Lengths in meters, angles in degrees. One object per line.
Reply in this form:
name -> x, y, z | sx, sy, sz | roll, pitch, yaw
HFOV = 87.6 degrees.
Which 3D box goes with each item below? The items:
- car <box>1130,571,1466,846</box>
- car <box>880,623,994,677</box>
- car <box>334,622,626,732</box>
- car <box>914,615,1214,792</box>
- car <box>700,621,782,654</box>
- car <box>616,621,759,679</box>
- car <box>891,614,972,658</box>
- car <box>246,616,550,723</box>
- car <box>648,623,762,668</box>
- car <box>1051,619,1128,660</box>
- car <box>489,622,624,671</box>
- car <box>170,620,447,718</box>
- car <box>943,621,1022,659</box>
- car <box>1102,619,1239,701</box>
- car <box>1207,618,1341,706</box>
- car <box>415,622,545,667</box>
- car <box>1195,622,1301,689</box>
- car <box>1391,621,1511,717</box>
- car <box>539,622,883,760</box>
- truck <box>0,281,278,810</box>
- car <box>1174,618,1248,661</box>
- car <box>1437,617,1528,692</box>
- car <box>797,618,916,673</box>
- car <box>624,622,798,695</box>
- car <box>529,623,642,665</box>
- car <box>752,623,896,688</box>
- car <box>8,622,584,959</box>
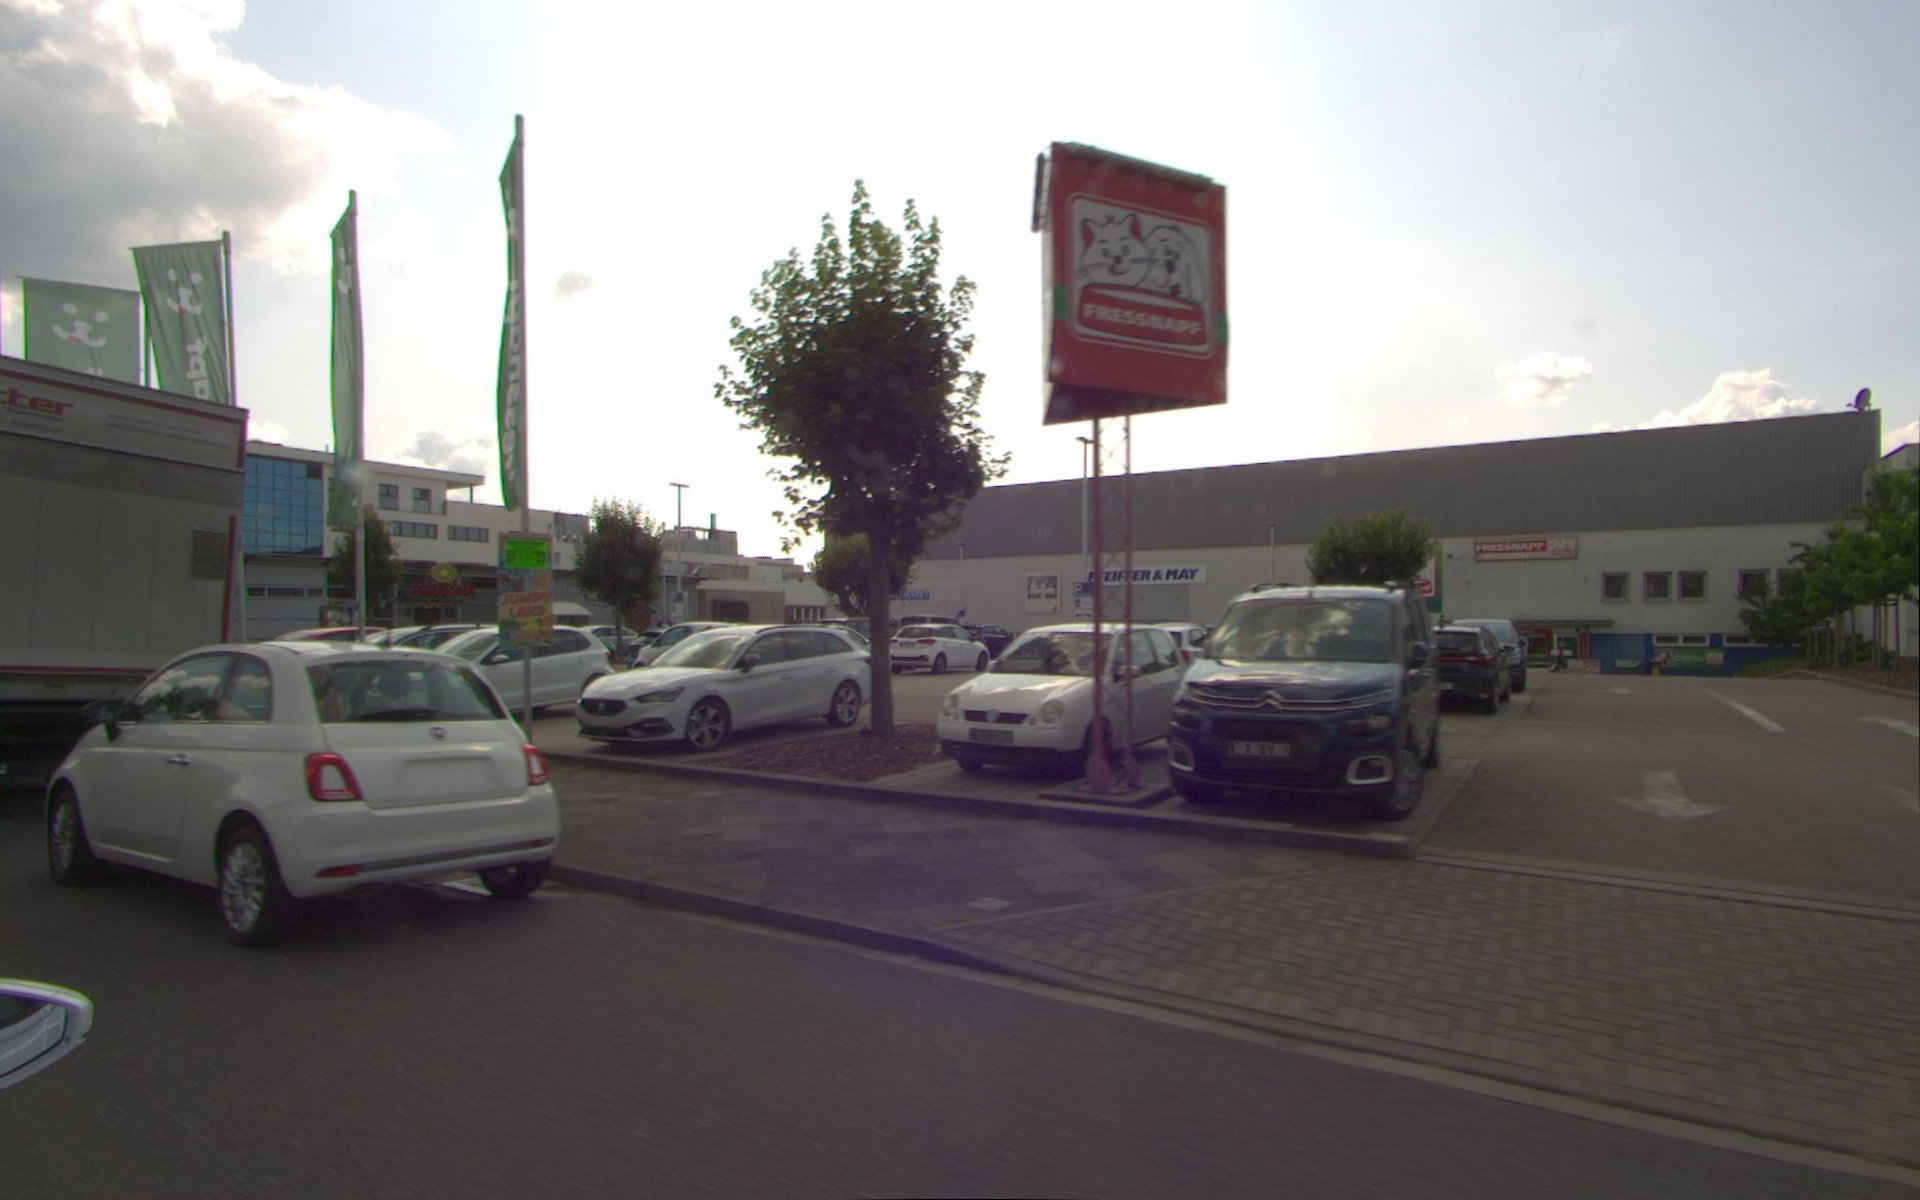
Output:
car -> 3.363, 0.749, 9.173 | 1.875, 1.811, 4.884 | 0, -1, 32
car -> -0.631, 1.470, 30.692 | 1.699, 1.503, 3.930 | 0, -1, 30
car -> -7.328, 1.096, 15.692 | 1.721, 1.451, 3.882 | 0, -1, 27
car -> 1.283, 0.930, 10.711 | 1.631, 1.518, 3.802 | 0, -1, 33
car -> -10.953, 1.849, 50.353 | 1.699, 1.503, 4.179 | 0, -1, 30
car -> -7.806, 1.393, 29.021 | 1.715, 1.503, 3.976 | 0, -1, 30
car -> -1.182, 1.524, 43.571 | 1.699, 1.824, 4.060 | 0, -1, 30
car -> -9.334, 1.063, 17.034 | 1.721, 1.562, 4.283 | 0, -1, 27
car -> -9.206, 1.598, 36.445 | 1.699, 1.503, 4.004 | 0, -1, 30
car -> 5.278, 1.555, 40.401 | 1.699, 1.503, 4.025 | 0, -1, 30
car -> -13.374, 1.496, 33.370 | 1.699, 1.503, 3.989 | 0, -1, 30
car -> -11.615, 1.151, 18.142 | 1.721, 1.542, 3.882 | 0, -1, 27
car -> 1.013, 1.644, 42.553 | 1.699, 1.503, 3.917 | 0, -1, 30
car -> 4.510, 1.170, 21.024 | 1.699, 1.503, 3.930 | 0, -1, 30
car -> 6.220, 1.114, 19.582 | 1.699, 1.503, 3.930 | 0, -1, 30
car -> -17.464, 1.589, 36.616 | 1.699, 1.503, 4.053 | 0, -1, 30
car -> 7.326, 1.319, 25.261 | 1.699, 1.503, 3.930 | 0, -1, 30
car -> 8.942, 1.143, 18.090 | 1.699, 1.503, 3.930 | 0, -1, 30
car -> -3.068, 1.046, 13.329 | 1.831, 1.456, 4.473 | 0, -1, 31
truck -> -10.732, -0.341, 10.558 | 8.162, 4.166, 2.775 | -1, -4, 33
car -> 9.504, 1.442, 37.728 | 1.699, 1.503, 4.000 | 0, -1, 30
car -> 11.921, 1.157, 22.733 | 1.699, 1.503, 3.930 | 0, -1, 30
car -> -3.181, 1.380, 31.631 | 1.714, 1.598, 4.052 | 0, -1, 30
car -> -5.663, 1.279, 22.685 | 3.697, 1.539, 1.717 | -1, -2, 31
car -> -14.929, 1.718, 40.094 | 1.699, 1.503, 4.112 | 0, -1, 30
car -> -3.474, 1.375, 26.169 | 1.699, 1.503, 3.930 | 0, -1, 30
car -> -4.170, 0.943, 6.184 | 3.573, 1.529, 1.544 | -1, -4, 31
